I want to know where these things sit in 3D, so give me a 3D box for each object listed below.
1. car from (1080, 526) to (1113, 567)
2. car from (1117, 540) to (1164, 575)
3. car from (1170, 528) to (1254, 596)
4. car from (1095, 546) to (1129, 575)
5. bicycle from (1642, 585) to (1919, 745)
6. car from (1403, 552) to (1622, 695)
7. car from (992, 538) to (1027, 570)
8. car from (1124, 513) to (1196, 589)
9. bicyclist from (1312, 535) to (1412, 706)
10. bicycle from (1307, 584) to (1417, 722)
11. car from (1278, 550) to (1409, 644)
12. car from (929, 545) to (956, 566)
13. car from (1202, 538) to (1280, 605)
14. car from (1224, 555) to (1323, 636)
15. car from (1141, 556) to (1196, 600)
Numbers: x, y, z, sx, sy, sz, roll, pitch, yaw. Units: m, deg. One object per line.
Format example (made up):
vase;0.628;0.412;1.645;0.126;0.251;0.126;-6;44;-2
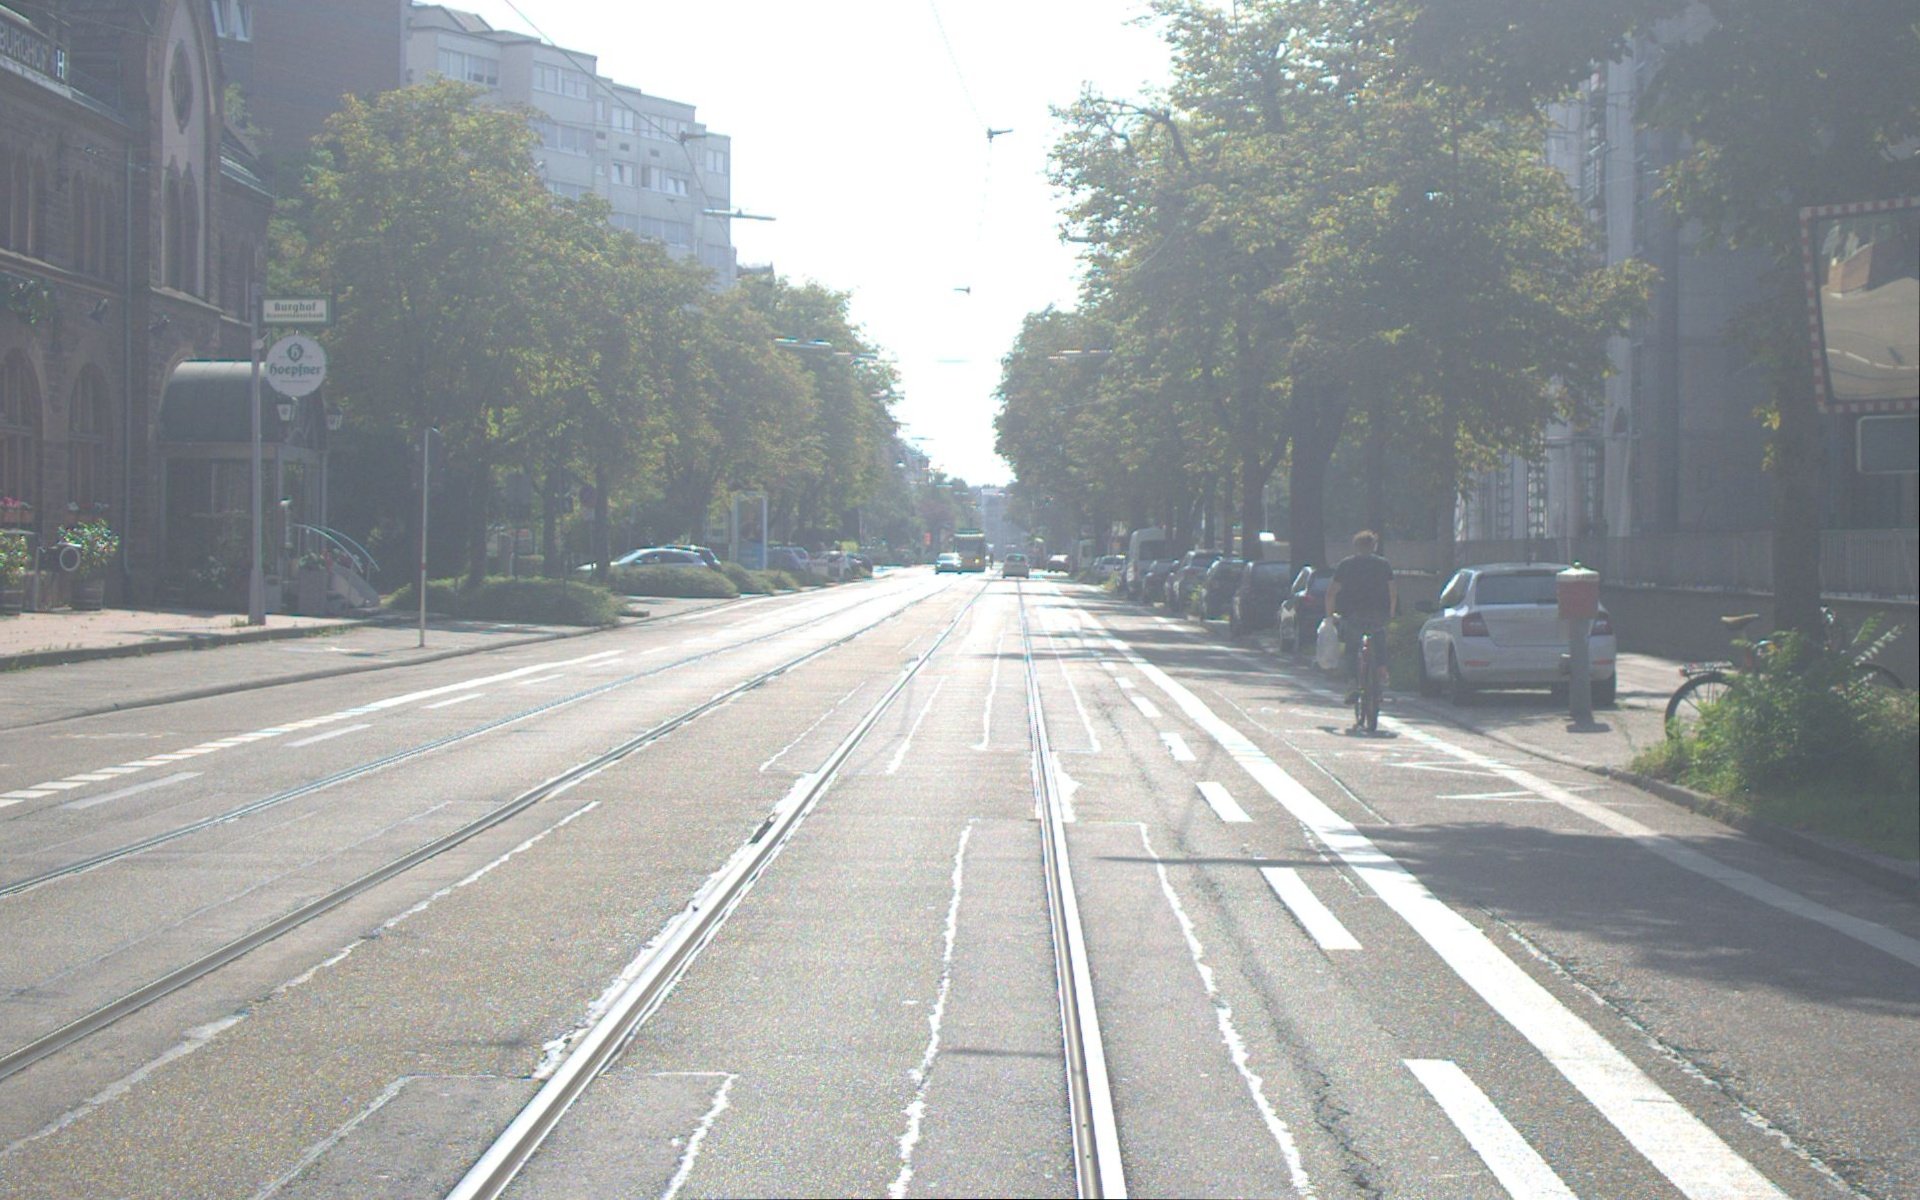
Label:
car;8.562;-3.327;215.379;2.005;2.482;4.476;1;0;2
car;7.348;-1.721;140.001;1.753;1.373;4.719;-1;1;1
car;6.543;-1.002;89.707;1.753;1.685;4.397;1;1;-1
car;7.663;-1.996;173.582;1.690;1.413;3.634;1;1;2
bicycle;5.751;0.446;24.070;1.768;1.060;0.796;-1;1;-1
car;5.816;0.216;36.573;1.640;1.425;3.989;0;1;-1
car;2.991;-2.762;205.941;1.994;1.831;4.000;1;1;2
car;7.005;-1.720;121.094;2.082;2.544;5.502;-3;1;0
bicyclist;3.533;0.167;30.287;0.787;1.465;1.116;1;1;3
bicycle;3.524;0.445;30.299;0.787;1.140;2.305;1;1;3
car;6.099;-0.073;55.071;1.646;1.423;4.085;0;1;0
car;-1.192;-3.054;236.401;1.828;1.371;4.513;1;1;0
car;6.485;-0.676;79.638;1.576;1.479;3.738;-1;1;2
car;6.065;-0.114;66.769;1.646;1.506;3.778;-1;1;1
car;6.677;-0.728;110.557;1.616;1.369;4.827;0;1;2
